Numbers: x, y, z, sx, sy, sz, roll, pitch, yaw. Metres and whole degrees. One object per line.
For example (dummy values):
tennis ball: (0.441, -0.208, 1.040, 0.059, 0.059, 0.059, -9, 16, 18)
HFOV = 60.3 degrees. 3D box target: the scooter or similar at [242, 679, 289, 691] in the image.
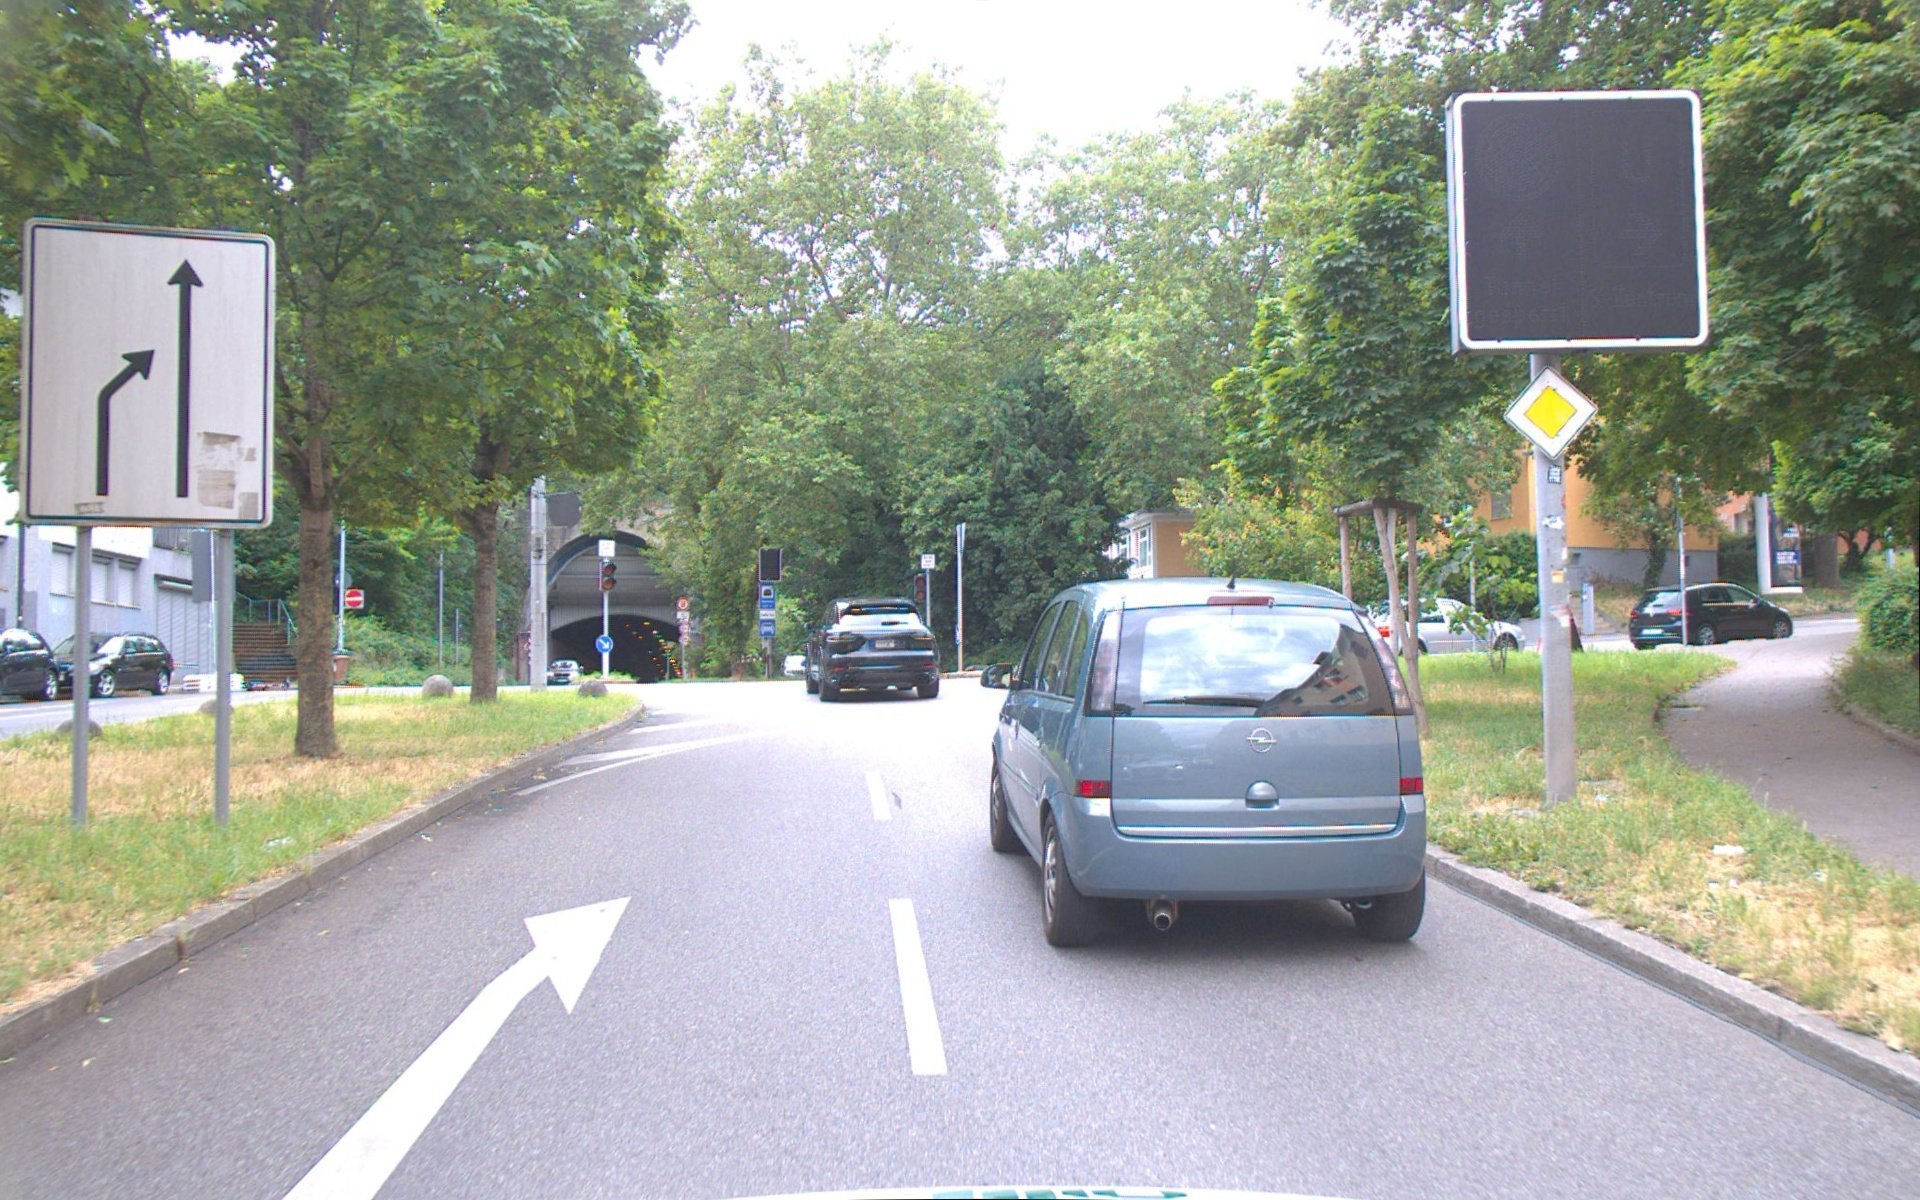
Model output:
scooter or similar: (-18.753, 2.296, 44.690, 1.107, 0.293, 1.093, -1, -3, -20)

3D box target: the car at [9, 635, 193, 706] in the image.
car: (-18.964, 1.515, 36.750, 1.954, 1.425, 4.514, -1, -1, -4)

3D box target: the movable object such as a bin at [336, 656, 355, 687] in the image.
movable object such as a bin: (-19.819, 2.306, 53.342, 0.508, 0.984, 0.442, 3, -4, -19)

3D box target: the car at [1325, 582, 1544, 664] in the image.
car: (9.519, 0.438, 33.149, 4.069, 1.453, 1.846, -2, 0, -27)

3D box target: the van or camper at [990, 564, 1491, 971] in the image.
van or camper: (1.163, 0.676, 8.418, 1.701, 1.605, 3.643, 1, 0, -4)

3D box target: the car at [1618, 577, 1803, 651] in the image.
car: (16.843, 0.305, 37.077, 4.074, 1.453, 1.720, -2, -2, -31)

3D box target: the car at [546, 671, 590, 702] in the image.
car: (-22.555, 4.969, 95.232, 1.834, 1.729, 4.928, -1, -3, -6)

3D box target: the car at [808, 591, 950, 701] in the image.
car: (-1.458, 0.768, 28.142, 1.957, 1.682, 3.991, -1, -1, -9)

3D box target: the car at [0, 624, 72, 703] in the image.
car: (-18.801, 1.224, 31.500, 1.956, 1.448, 4.203, -1, -2, -8)

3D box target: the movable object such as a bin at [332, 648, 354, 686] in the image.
movable object such as a bin: (-20.089, 2.187, 53.825, 0.595, 1.206, 0.489, 3, -4, -19)

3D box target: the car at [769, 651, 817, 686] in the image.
car: (-7.488, 3.094, 73.814, 1.752, 1.467, 5.050, -1, -3, -10)
